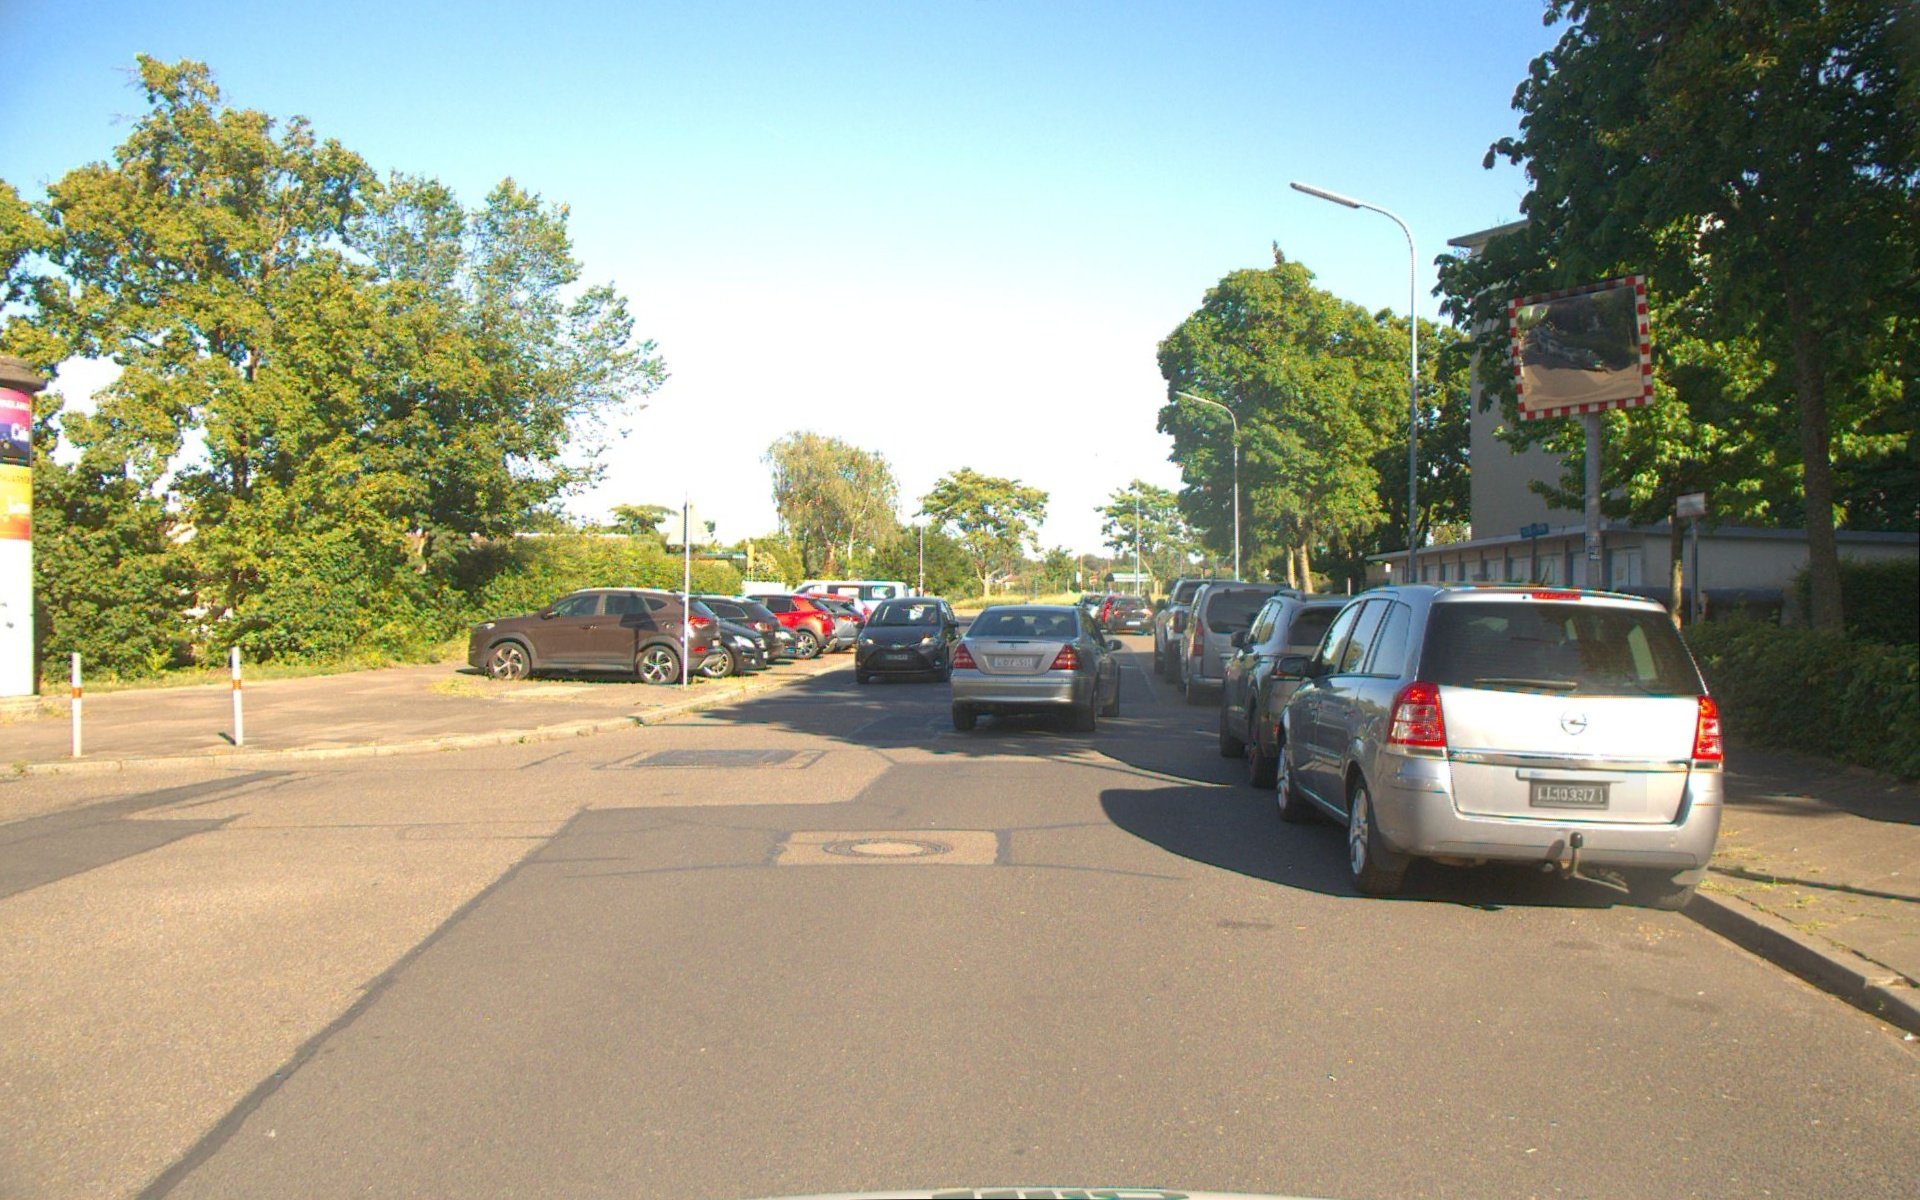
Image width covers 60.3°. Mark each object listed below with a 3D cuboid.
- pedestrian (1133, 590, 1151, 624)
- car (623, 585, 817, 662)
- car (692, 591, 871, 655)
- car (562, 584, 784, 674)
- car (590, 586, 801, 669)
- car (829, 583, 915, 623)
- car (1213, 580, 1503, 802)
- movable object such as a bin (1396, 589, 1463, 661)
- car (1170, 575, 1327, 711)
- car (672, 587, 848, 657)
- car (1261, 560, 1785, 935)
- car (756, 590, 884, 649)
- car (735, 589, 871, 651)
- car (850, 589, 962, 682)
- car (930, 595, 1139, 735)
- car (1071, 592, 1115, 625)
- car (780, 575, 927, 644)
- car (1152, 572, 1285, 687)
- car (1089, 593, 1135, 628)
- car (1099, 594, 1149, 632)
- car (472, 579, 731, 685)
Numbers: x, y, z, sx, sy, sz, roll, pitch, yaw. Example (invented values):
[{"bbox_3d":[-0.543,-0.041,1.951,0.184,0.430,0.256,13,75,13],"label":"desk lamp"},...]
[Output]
[{"bbox_3d":[8.851,0.338,80.496,0.771,1.592,0.569,2,-1,-1],"label":"pedestrian"},{"bbox_3d":[-5.300,0.522,36.858,3.935,1.539,1.906,2,-1,2],"label":"car"},{"bbox_3d":[-4.690,0.590,43.884,4.448,1.505,1.748,2,1,4],"label":"car"},{"bbox_3d":[-5.547,0.556,32.254,3.904,1.559,1.832,2,-1,2],"label":"car"},{"bbox_3d":[-5.452,0.559,34.455,4.007,1.539,1.813,2,-1,2],"label":"car"},{"bbox_3d":[-4.080,0.135,76.920,3.898,1.811,1.924,1,0,-4],"label":"car"},{"bbox_3d":[3.325,0.689,14.554,1.766,1.621,4.025,2,0,4],"label":"car"},{"bbox_3d":[9.100,0.485,32.106,1.223,1.371,1.053,0,-1,16],"label":"movable object such as a bin"},{"bbox_3d":[4.316,0.564,25.356,1.795,1.822,4.557,2,1,3],"label":"car"},{"bbox_3d":[-4.803,0.513,39.985,3.903,1.505,1.792,2,1,4],"label":"car"},{"bbox_3d":[2.949,0.685,9.696,1.731,1.638,4.374,2,-1,3],"label":"car"},{"bbox_3d":[-4.147,0.557,49.418,3.526,1.594,1.853,2,1,4],"label":"car"},{"bbox_3d":[-4.410,0.543,46.924,3.526,1.594,1.882,2,1,4],"label":"car"},{"bbox_3d":[-0.940,0.643,30.754,1.615,1.583,4.004,-1,-1,5],"label":"car"},{"bbox_3d":[1.033,0.697,20.311,1.777,1.489,4.364,1,0,13],"label":"car"},{"bbox_3d":[6.574,0.410,82.064,1.696,1.570,3.787,1,0,-2],"label":"car"},{"bbox_3d":[-3.350,0.302,52.491,4.385,2.011,2.001,2,-1,3],"label":"car"},{"bbox_3d":[4.653,0.460,30.482,1.867,1.872,5.277,2,1,3],"label":"car"},{"bbox_3d":[6.628,0.462,72.327,1.544,1.472,3.787,1,0,-2],"label":"car"},{"bbox_3d":[6.356,0.521,64.520,1.613,1.427,3.882,-1,-1,1],"label":"car"},{"bbox_3d":[-6.286,0.557,29.352,4.100,1.685,1.847,2,-1,2],"label":"car"}]
